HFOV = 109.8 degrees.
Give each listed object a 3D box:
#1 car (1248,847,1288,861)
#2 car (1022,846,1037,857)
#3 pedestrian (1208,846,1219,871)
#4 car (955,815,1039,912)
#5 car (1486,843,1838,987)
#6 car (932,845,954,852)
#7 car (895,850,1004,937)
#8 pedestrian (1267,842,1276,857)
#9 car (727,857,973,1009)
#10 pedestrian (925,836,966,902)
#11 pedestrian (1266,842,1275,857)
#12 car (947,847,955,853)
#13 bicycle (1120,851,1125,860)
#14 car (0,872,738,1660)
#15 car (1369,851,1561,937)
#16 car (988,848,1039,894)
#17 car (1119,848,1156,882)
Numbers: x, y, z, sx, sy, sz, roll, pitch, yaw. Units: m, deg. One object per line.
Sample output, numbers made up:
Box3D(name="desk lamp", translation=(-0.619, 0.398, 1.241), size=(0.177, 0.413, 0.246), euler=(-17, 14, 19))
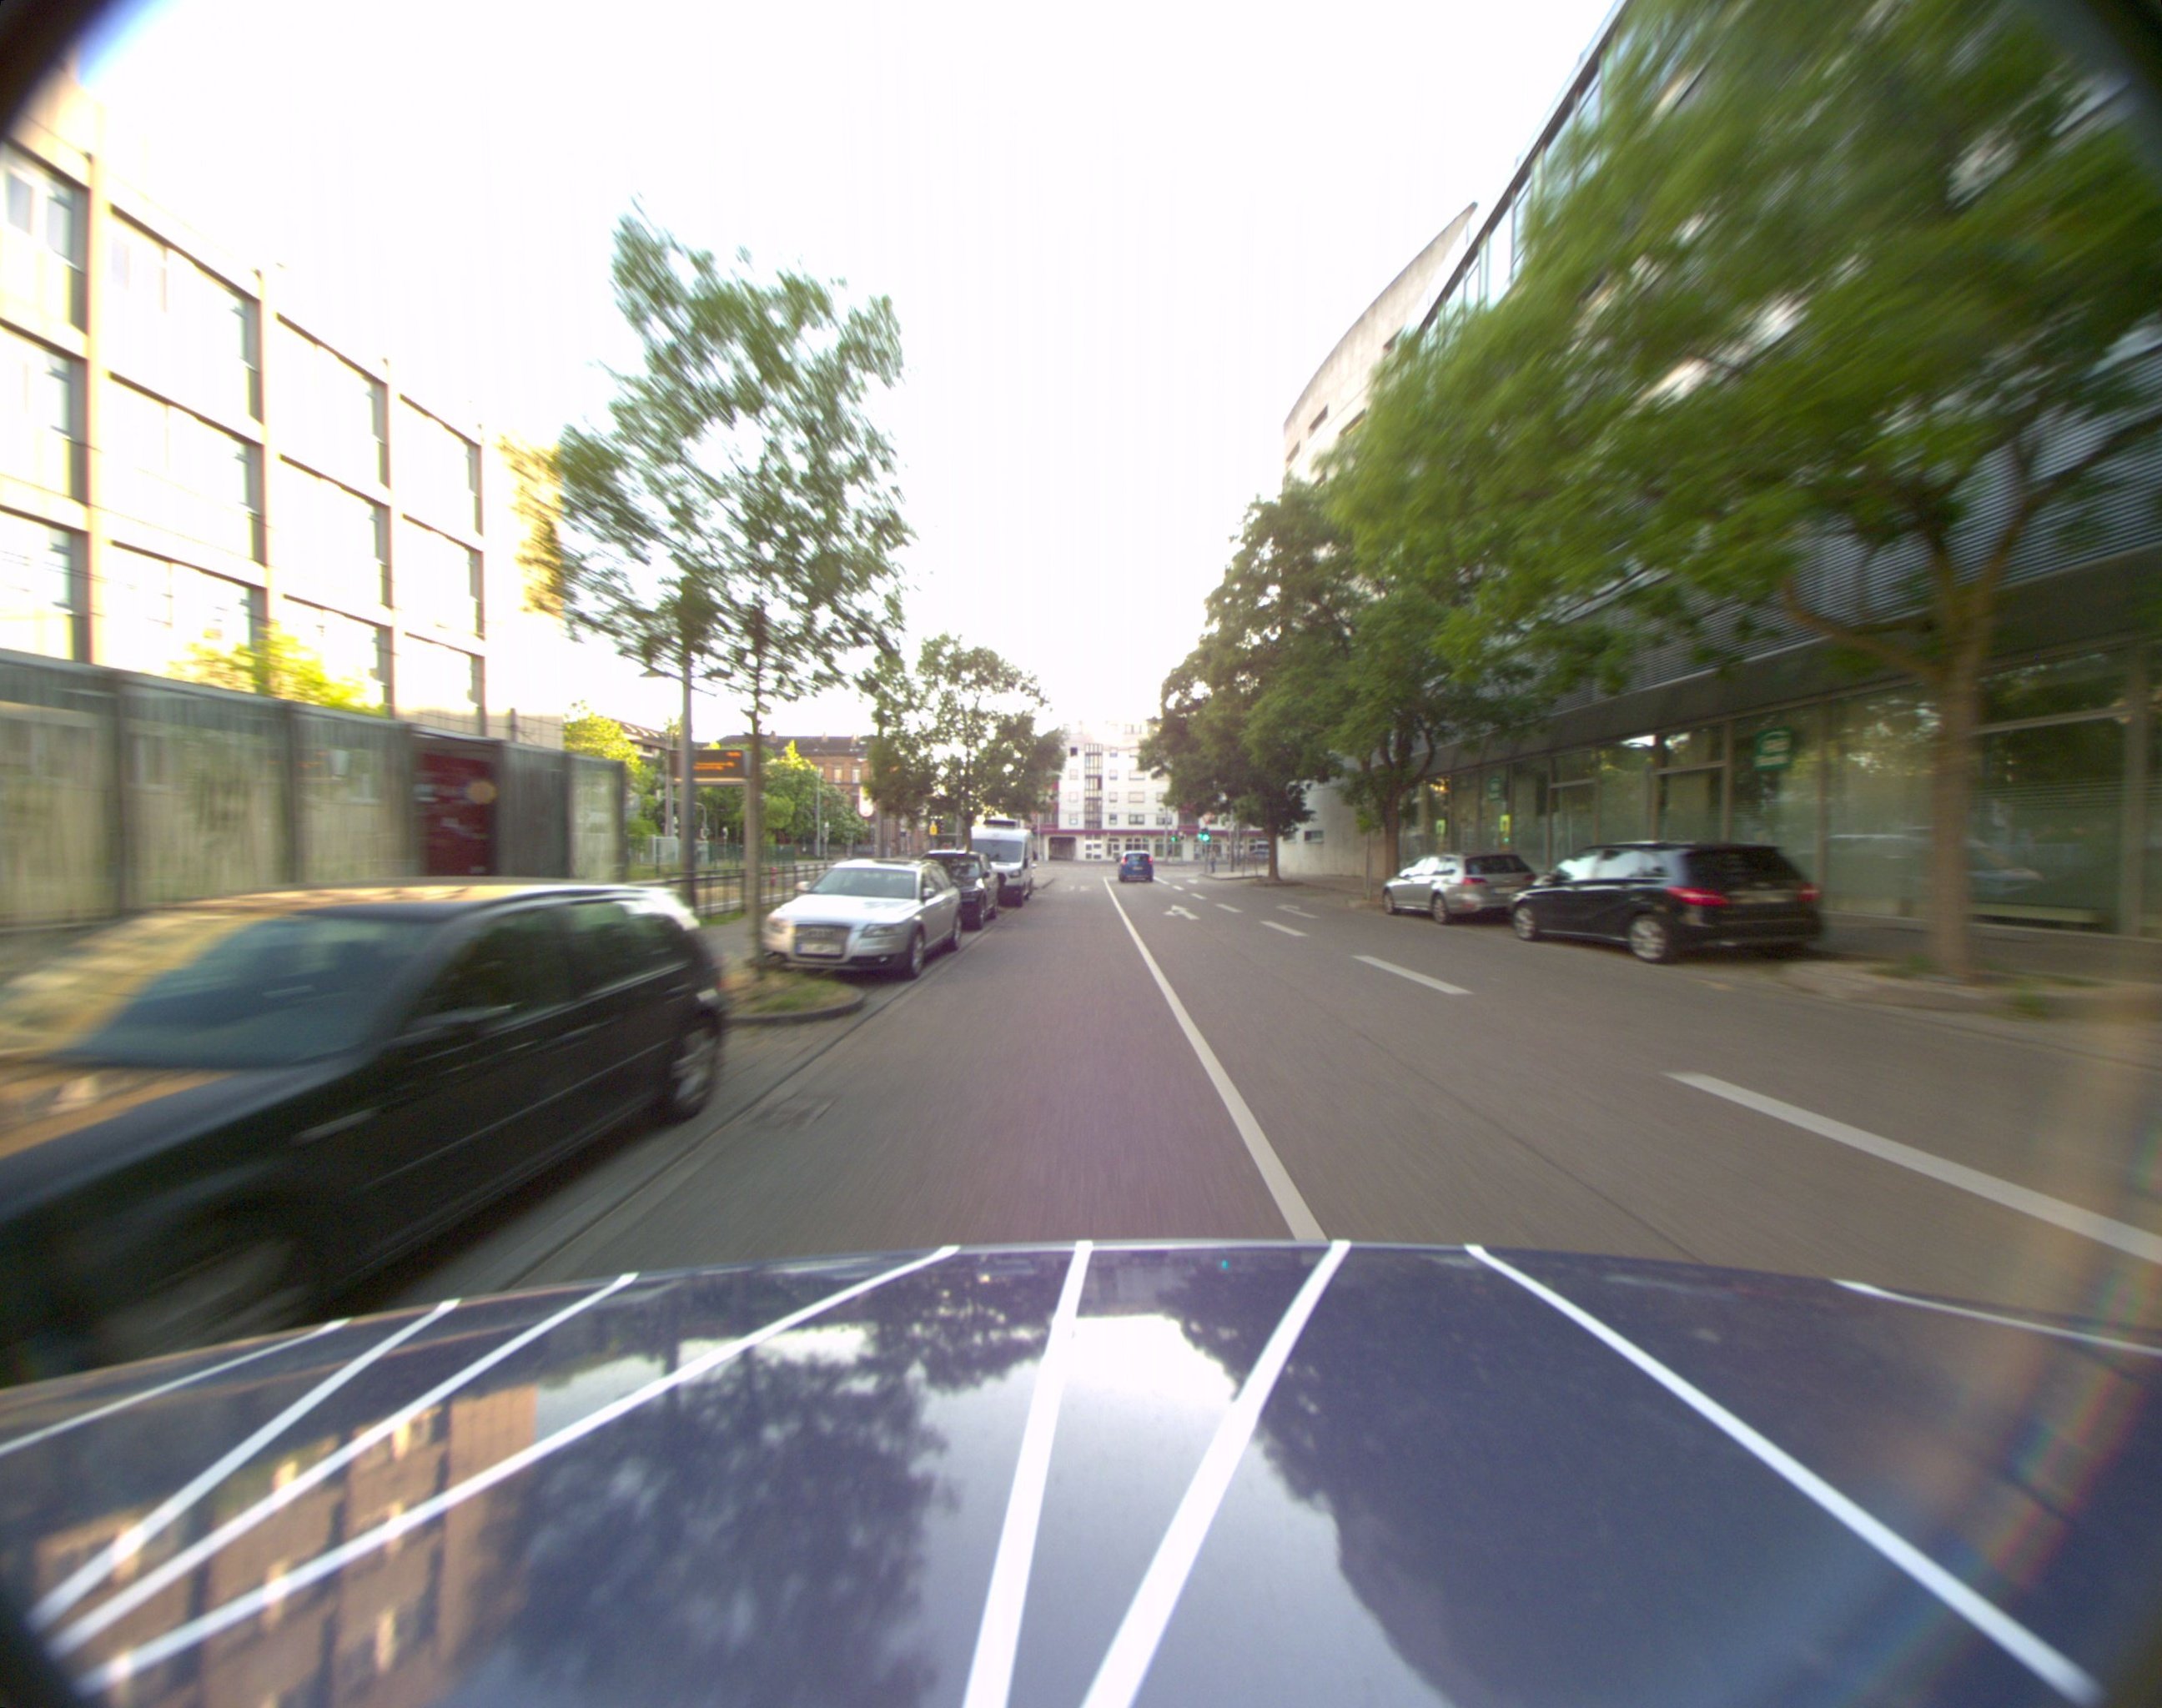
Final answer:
Box3D(name="car", translation=(21.013, -0.028, 85.528), size=(4.099, 1.587, 1.666), euler=(0, 1, 0))
Box3D(name="car", translation=(-6.850, -0.329, 100.689), size=(2.007, 1.449, 4.294), euler=(0, 1, -4))
Box3D(name="pedestrian", translation=(9.005, 0.316, 51.797), size=(0.545, 1.691, 0.709), euler=(1, 2, 28))
Box3D(name="car", translation=(-2.527, 0.227, 24.247), size=(2.056, 2.642, 5.432), euler=(3, 1, -1))
Box3D(name="car", translation=(7.804, 0.675, 10.875), size=(1.594, 1.559, 4.471), euler=(-3, 1, 0))
Box3D(name="car", translation=(-29.131, -1.197, 160.345), size=(4.706, 1.477, 1.905), euler=(0, 1, -11))
Box3D(name="car", translation=(-2.818, 0.764, 17.148), size=(1.712, 1.634, 4.266), euler=(2, 1, 0))
Box3D(name="pedestrian", translation=(23.182, -0.511, 92.517), size=(0.835, 1.796, 0.691), euler=(0, 1, 2))
Box3D(name="car", translation=(-2.860, 0.867, 10.668), size=(1.800, 1.487, 4.780), euler=(3, 1, 2))
Box3D(name="pedestrian", translation=(-4.254, 0.452, 23.911), size=(0.981, 2.002, 0.805), euler=(-1, 2, -45))
Box3D(name="pedestrian", translation=(22.823, -0.552, 91.587), size=(0.835, 1.796, 0.691), euler=(0, 1, 2))
Box3D(name="car", translation=(-31.515, -1.026, 184.298), size=(1.787, 1.449, 4.292), euler=(0, 1, -11))
Box3D(name="bicycle", translation=(4.941, 0.152, 90.598), size=(0.515, 1.040, 1.902), euler=(0, 1, -2))
Box3D(name="car", translation=(-3.067, 0.893, 2.884), size=(1.712, 1.443, 3.999), euler=(2, 1, 0))
Box3D(name="car", translation=(7.893, 0.714, 16.183), size=(1.707, 1.453, 4.626), euler=(-3, 1, 0))
Box3D(name="car", translation=(-2.644, 0.623, 30.364), size=(1.753, 1.574, 4.011), euler=(3, 1, -2))
Box3D(name="car", translation=(2.996, 0.558, 41.041), size=(1.752, 1.669, 4.273), euler=(-1, 1, 1))
